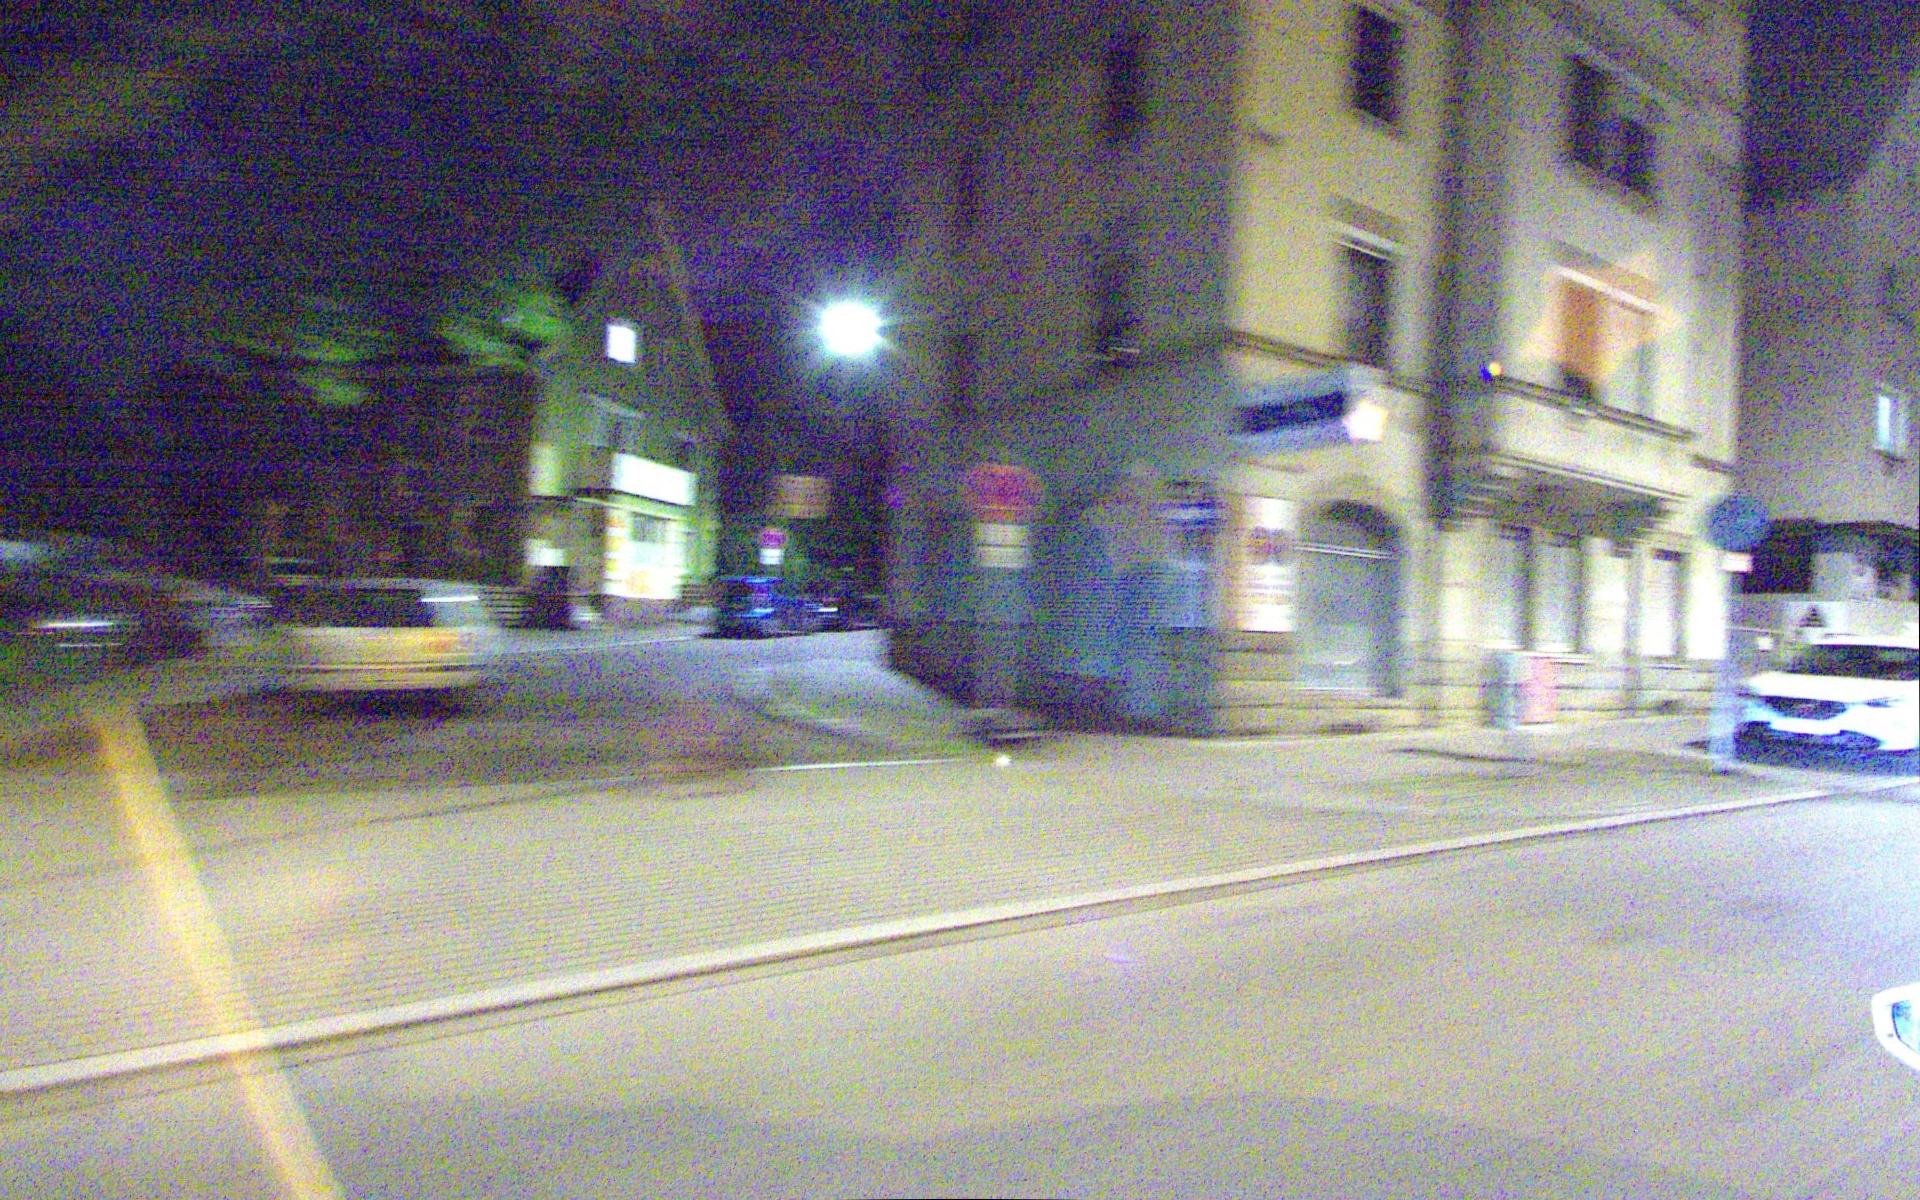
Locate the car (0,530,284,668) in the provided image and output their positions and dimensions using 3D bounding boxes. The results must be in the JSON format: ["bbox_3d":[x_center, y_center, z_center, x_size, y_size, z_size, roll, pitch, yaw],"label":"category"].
[{"bbox_3d":[-11.420,-0.043,13.134,3.921,1.627,1.753,2,2,-21],"label":"car"}]

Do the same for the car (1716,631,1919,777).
[{"bbox_3d":[11.574,1.192,12.696,4.299,1.504,1.804,2,0,-32],"label":"car"}]

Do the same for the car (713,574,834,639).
[{"bbox_3d":[-4.931,0.179,27.004,1.697,1.581,3.382,2,0,19],"label":"car"}]

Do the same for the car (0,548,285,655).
[{"bbox_3d":[-12.796,0.015,14.931,4.263,1.437,1.669,2,0,-22],"label":"car"}]

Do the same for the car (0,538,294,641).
[{"bbox_3d":[-14.041,-0.163,17.135,4.088,1.563,1.843,2,0,-20],"label":"car"}]

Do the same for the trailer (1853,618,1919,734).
[{"bbox_3d":[15.515,1.168,15.323,3.394,1.661,1.632,2,0,-26],"label":"trailer"}]

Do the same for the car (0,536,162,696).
[{"bbox_3d":[-10.852,0.091,10.141,4.140,1.558,1.747,2,2,-31],"label":"car"}]

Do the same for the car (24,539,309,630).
[{"bbox_3d":[-15.290,-0.266,19.644,3.941,1.559,1.881,2,0,-22],"label":"car"}]

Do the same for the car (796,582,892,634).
[{"bbox_3d":[-3.521,0.196,30.970,1.541,1.471,3.442,2,1,20],"label":"car"}]

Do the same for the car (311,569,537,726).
[{"bbox_3d":[-6.037,0.426,11.758,1.735,1.444,3.981,2,2,-20],"label":"car"}]

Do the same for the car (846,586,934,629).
[{"bbox_3d":[-2.329,0.213,34.451,1.618,1.358,3.724,2,1,20],"label":"car"}]
